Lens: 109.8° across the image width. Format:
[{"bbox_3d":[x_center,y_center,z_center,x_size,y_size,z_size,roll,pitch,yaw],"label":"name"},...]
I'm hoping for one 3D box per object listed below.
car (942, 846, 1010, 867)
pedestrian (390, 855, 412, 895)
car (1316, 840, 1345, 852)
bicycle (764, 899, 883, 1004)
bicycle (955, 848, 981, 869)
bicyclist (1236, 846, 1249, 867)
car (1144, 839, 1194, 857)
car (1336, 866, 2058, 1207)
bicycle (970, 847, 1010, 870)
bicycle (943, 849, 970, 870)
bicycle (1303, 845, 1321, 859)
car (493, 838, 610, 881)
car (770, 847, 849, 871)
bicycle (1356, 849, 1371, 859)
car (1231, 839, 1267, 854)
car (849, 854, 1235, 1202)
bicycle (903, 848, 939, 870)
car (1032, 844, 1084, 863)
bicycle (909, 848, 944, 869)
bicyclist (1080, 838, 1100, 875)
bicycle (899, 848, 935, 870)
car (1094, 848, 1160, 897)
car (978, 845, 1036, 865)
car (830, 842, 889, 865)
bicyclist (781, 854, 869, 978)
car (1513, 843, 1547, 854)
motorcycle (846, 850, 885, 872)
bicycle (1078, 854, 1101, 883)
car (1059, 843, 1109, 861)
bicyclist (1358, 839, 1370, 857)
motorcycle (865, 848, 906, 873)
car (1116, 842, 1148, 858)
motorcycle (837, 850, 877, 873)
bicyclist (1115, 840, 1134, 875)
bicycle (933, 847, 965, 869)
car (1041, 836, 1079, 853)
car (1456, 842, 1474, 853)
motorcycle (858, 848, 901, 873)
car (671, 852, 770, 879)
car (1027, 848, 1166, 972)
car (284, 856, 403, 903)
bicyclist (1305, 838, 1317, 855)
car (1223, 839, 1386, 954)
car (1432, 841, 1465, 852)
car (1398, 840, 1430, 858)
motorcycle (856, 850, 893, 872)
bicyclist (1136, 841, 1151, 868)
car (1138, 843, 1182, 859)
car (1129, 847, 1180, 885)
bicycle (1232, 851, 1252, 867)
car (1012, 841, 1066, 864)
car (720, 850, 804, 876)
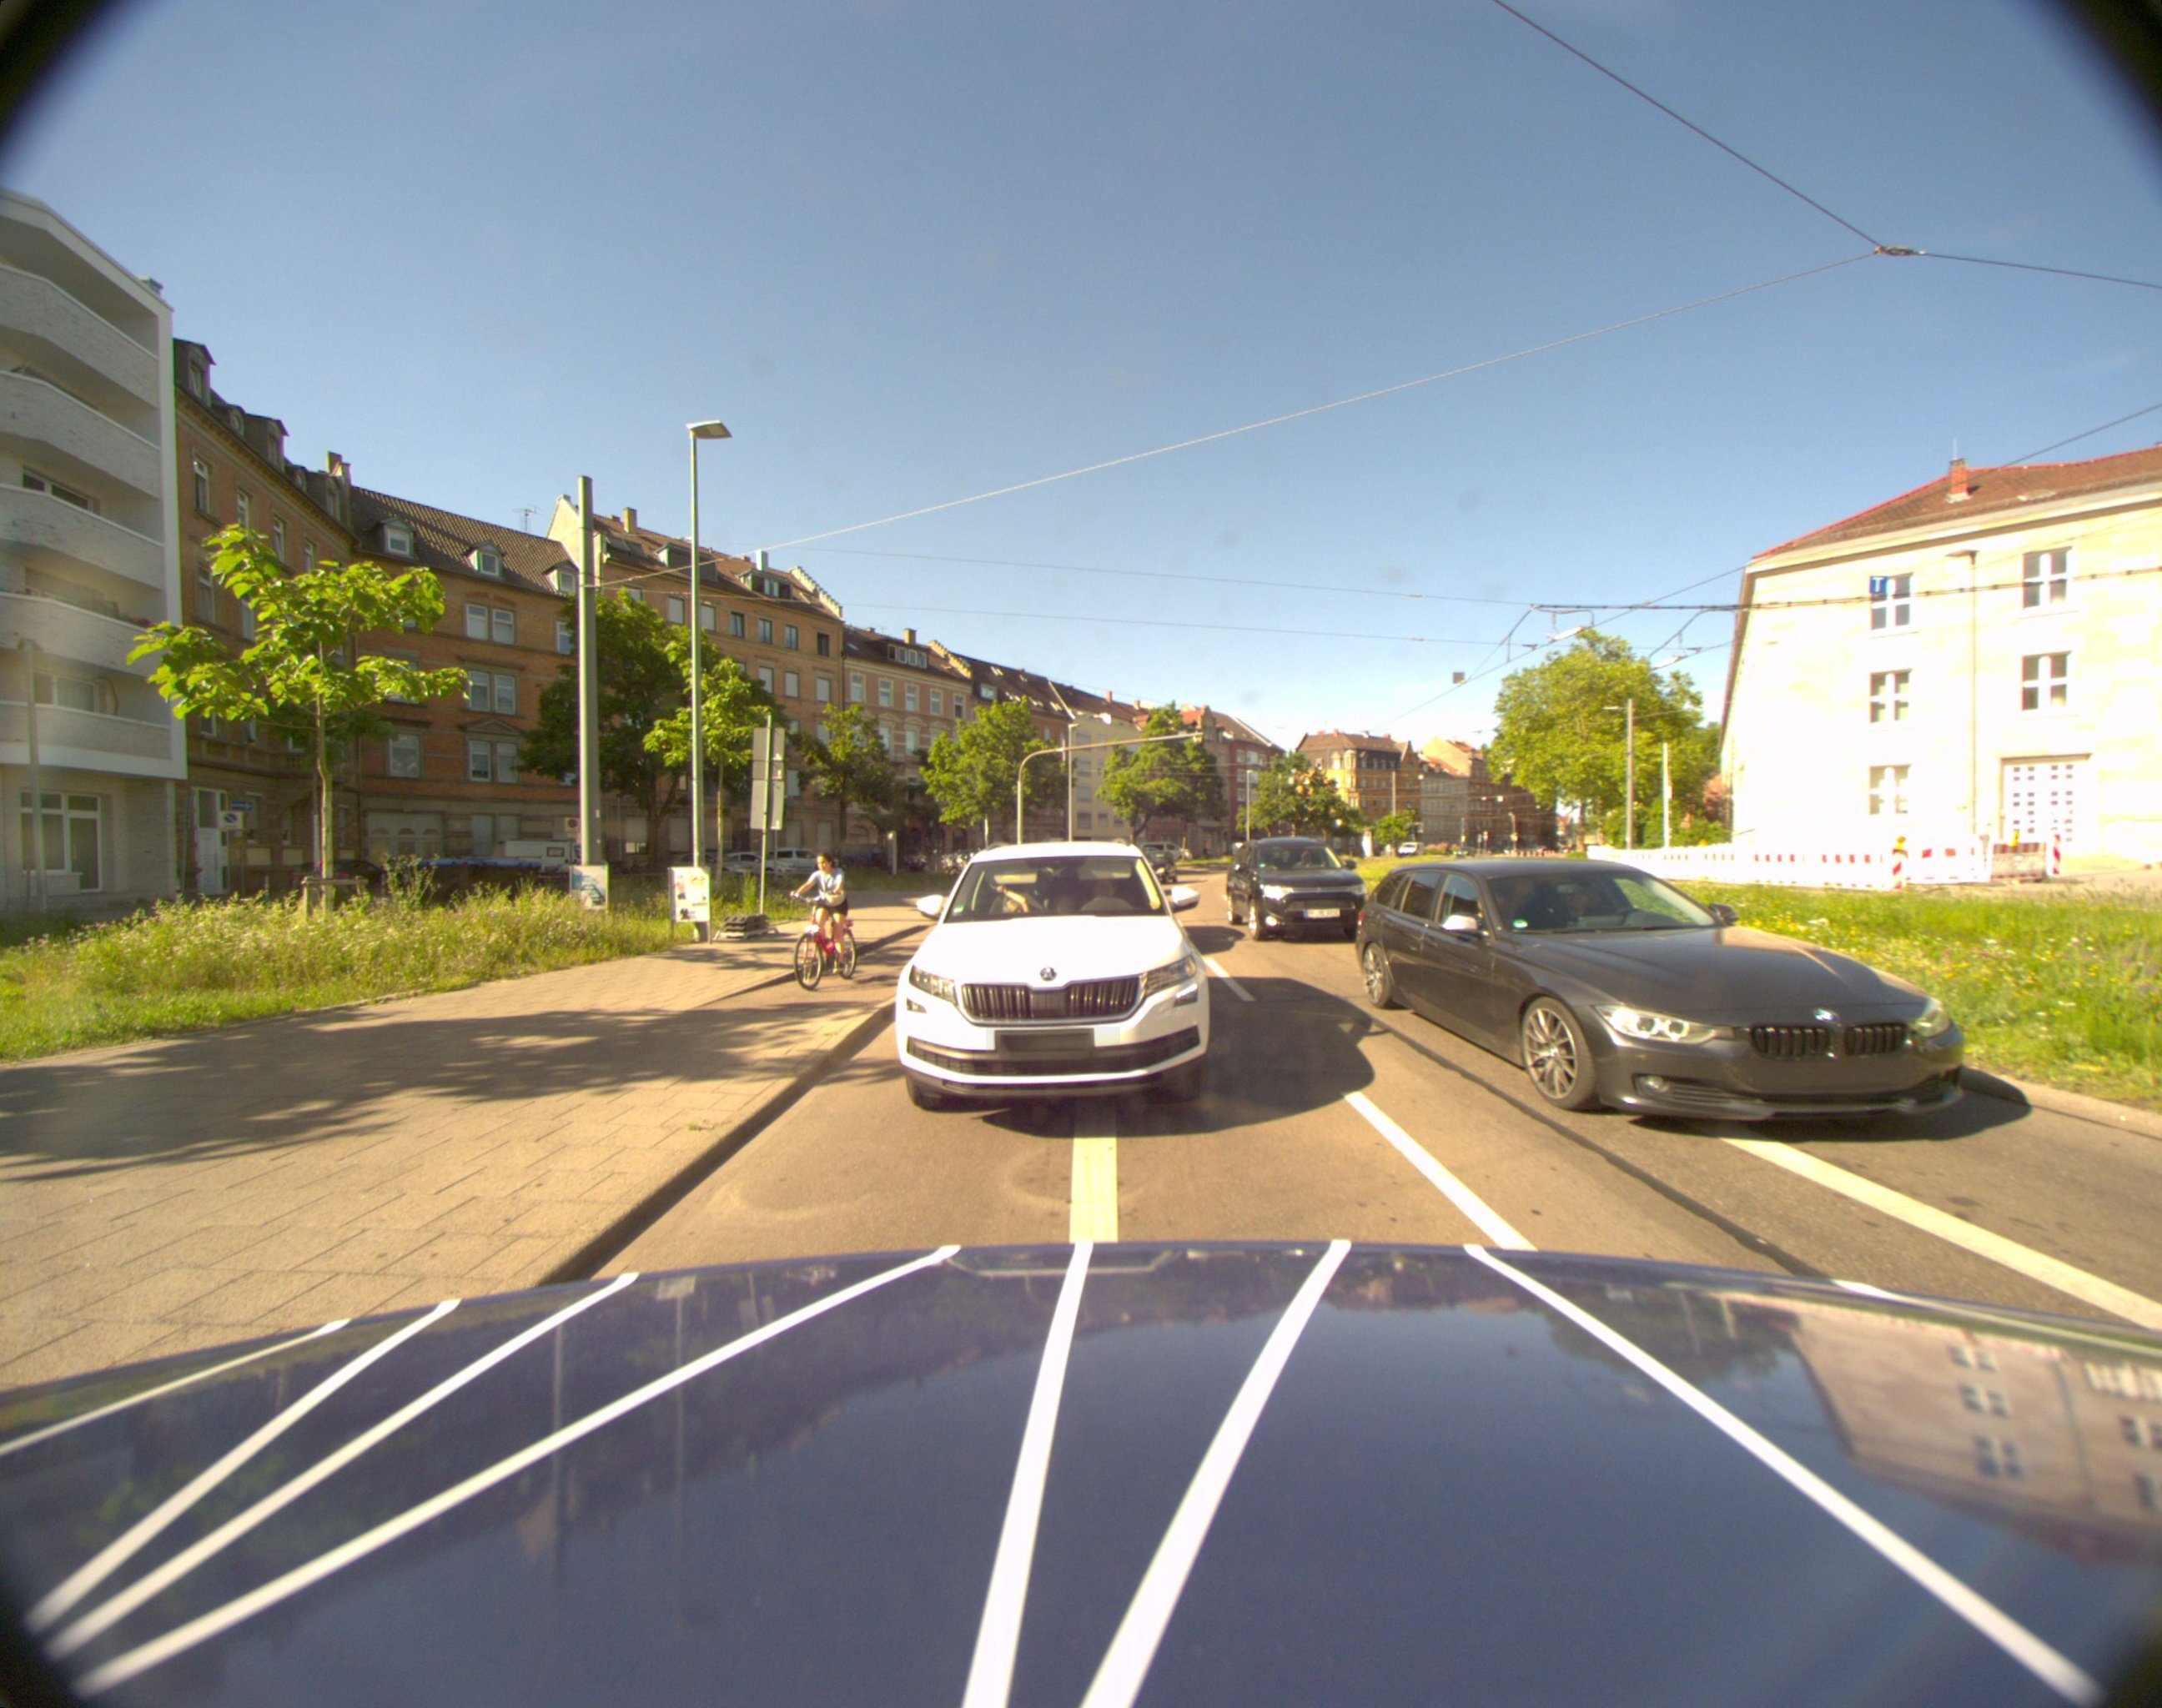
[{"bbox_3d":[-7.037,0.176,51.291,4.322,1.398,1.682,0,1,3],"label":"car"},{"bbox_3d":[-25.047,0.779,28.008,0.509,1.448,0.481,-3,2,-38],"label":"pedestrian"},{"bbox_3d":[41.668,-1.319,126.866,4.336,1.871,1.844,1,2,35],"label":"car"},{"bbox_3d":[-3.098,1.137,9.336,0.668,1.066,1.821,-1,0,6],"label":"bicycle"},{"bbox_3d":[-7.116,0.309,47.750,0.664,1.260,2.199,-3,1,-36],"label":"bicycle"},{"bbox_3d":[13.113,0.189,61.595,0.667,1.619,0.973,0,1,40],"label":"bicyclist"},{"bbox_3d":[8.205,-0.589,70.604,4.578,1.658,1.600,0,1,7],"label":"car"},{"bbox_3d":[3.482,0.849,5.589,1.741,1.359,4.426,-2,0,1],"label":"car"},{"bbox_3d":[-5.470,0.268,45.735,2.207,1.260,0.662,-3,1,-25],"label":"bicycle"},{"bbox_3d":[-7.679,0.341,46.756,0.664,1.260,2.199,-3,1,-36],"label":"bicycle"},{"bbox_3d":[22.531,-0.206,74.086,0.735,1.353,2.079,0,1,44],"label":"bicycle"},{"bbox_3d":[-27.112,0.218,39.007,2.047,2.026,4.510,1,2,41],"label":"car"},{"bbox_3d":[-14.675,0.257,41.191,3.700,1.244,1.540,0,1,2],"label":"car"},{"bbox_3d":[31.786,-0.003,85.582,0.762,1.138,2.287,0,1,44],"label":"bicycle"},{"bbox_3d":[18.703,-0.821,84.653,3.823,1.581,1.600,0,1,6],"label":"car"},{"bbox_3d":[-0.224,0.855,5.945,1.842,1.636,4.397,-2,0,-1],"label":"car"},{"bbox_3d":[-9.701,0.295,46.005,2.198,1.260,0.664,-2,1,32],"label":"bicycle"},{"bbox_3d":[-1.769,-0.053,58.708,3.823,1.398,1.600,0,1,6],"label":"car"},{"bbox_3d":[-9.504,0.280,46.708,2.198,1.260,0.664,-2,1,32],"label":"bicycle"},{"bbox_3d":[0.428,0.118,35.426,0.715,1.715,1.095,1,1,13],"label":"bicyclist"},{"bbox_3d":[-9.737,0.307,45.066,2.198,1.260,0.664,-2,1,30],"label":"bicycle"},{"bbox_3d":[1.720,0.593,27.115,1.838,1.543,4.151,0,1,10],"label":"car"},{"bbox_3d":[-5.220,0.088,53.961,3.822,1.398,1.683,0,1,9],"label":"car"},{"bbox_3d":[-15.604,-0.055,53.667,1.547,1.578,3.709,1,2,41],"label":"car"},{"bbox_3d":[-3.110,0.721,9.310,0.668,1.428,0.940,0,1,6],"label":"bicyclist"},{"bbox_3d":[63.759,-0.788,107.822,4.058,1.647,1.770,1,2,34],"label":"car"},{"bbox_3d":[-12.934,0.416,45.621,2.314,1.276,0.664,-2,1,24],"label":"motorcycle"},{"bbox_3d":[0.405,0.674,35.470,0.715,1.319,1.750,1,0,13],"label":"bicycle"},{"bbox_3d":[0.267,-0.159,61.160,3.823,1.398,1.600,0,1,6],"label":"car"},{"bbox_3d":[31.836,-0.647,85.578,0.847,2.002,1.199,0,1,44],"label":"bicyclist"},{"bbox_3d":[-11.143,0.358,43.290,2.200,1.315,0.664,-2,1,18],"label":"motorcycle"},{"bbox_3d":[5.477,-0.422,80.723,1.547,1.578,3.607,1,2,41],"label":"car"},{"bbox_3d":[-13.283,0.439,45.016,2.314,1.270,0.664,-2,1,24],"label":"motorcycle"},{"bbox_3d":[2.397,0.180,41.837,0.808,1.855,0.750,0,2,24],"label":"bicyclist"},{"bbox_3d":[-7.723,0.241,44.514,0.664,1.260,2.198,-3,1,-45],"label":"bicycle"},{"bbox_3d":[-1.932,-0.942,71.661,1.547,1.578,3.607,1,2,41],"label":"car"},{"bbox_3d":[54.367,-0.963,107.558,1.836,1.464,4.722,1,1,31],"label":"car"},{"bbox_3d":[-11.173,0.375,42.203,2.200,1.322,0.663,-2,1,13],"label":"motorcycle"},{"bbox_3d":[-17.494,0.535,36.903,4.156,1.244,1.683,0,1,13],"label":"car"},{"bbox_3d":[0.239,0.762,12.603,1.842,1.636,4.397,-2,0,1],"label":"car"},{"bbox_3d":[-26.163,0.830,27.145,1.835,1.419,4.378,-1,1,-27],"label":"car"},{"bbox_3d":[22.445,-0.728,74.034,0.734,1.685,0.973,0,1,44],"label":"bicyclist"},{"bbox_3d":[3.701,0.626,13.393,1.841,1.636,4.399,-2,0,5],"label":"car"},{"bbox_3d":[54.764,-1.123,113.217,1.770,1.647,4.059,-1,1,-34],"label":"car"},{"bbox_3d":[39.455,-0.606,90.032,1.977,2.074,4.723,1,2,43],"label":"car"},{"bbox_3d":[-12.596,0.402,46.401,2.199,1.260,0.664,-2,1,24],"label":"motorcycle"},{"bbox_3d":[3.764,0.035,45.482,0.630,1.619,0.973,0,1,22],"label":"bicyclist"},{"bbox_3d":[7.134,-0.248,68.174,3.823,1.372,1.600,0,1,9],"label":"car"},{"bbox_3d":[3.560,0.527,36.341,1.837,1.637,4.152,0,1,14],"label":"car"},{"bbox_3d":[13.056,0.407,61.533,0.667,1.190,2.159,0,1,40],"label":"bicycle"},{"bbox_3d":[-3.101,-0.136,56.100,3.825,1.698,1.682,0,1,3],"label":"car"},{"bbox_3d":[-16.401,0.441,39.102,3.696,1.244,1.683,0,1,13],"label":"car"}]
